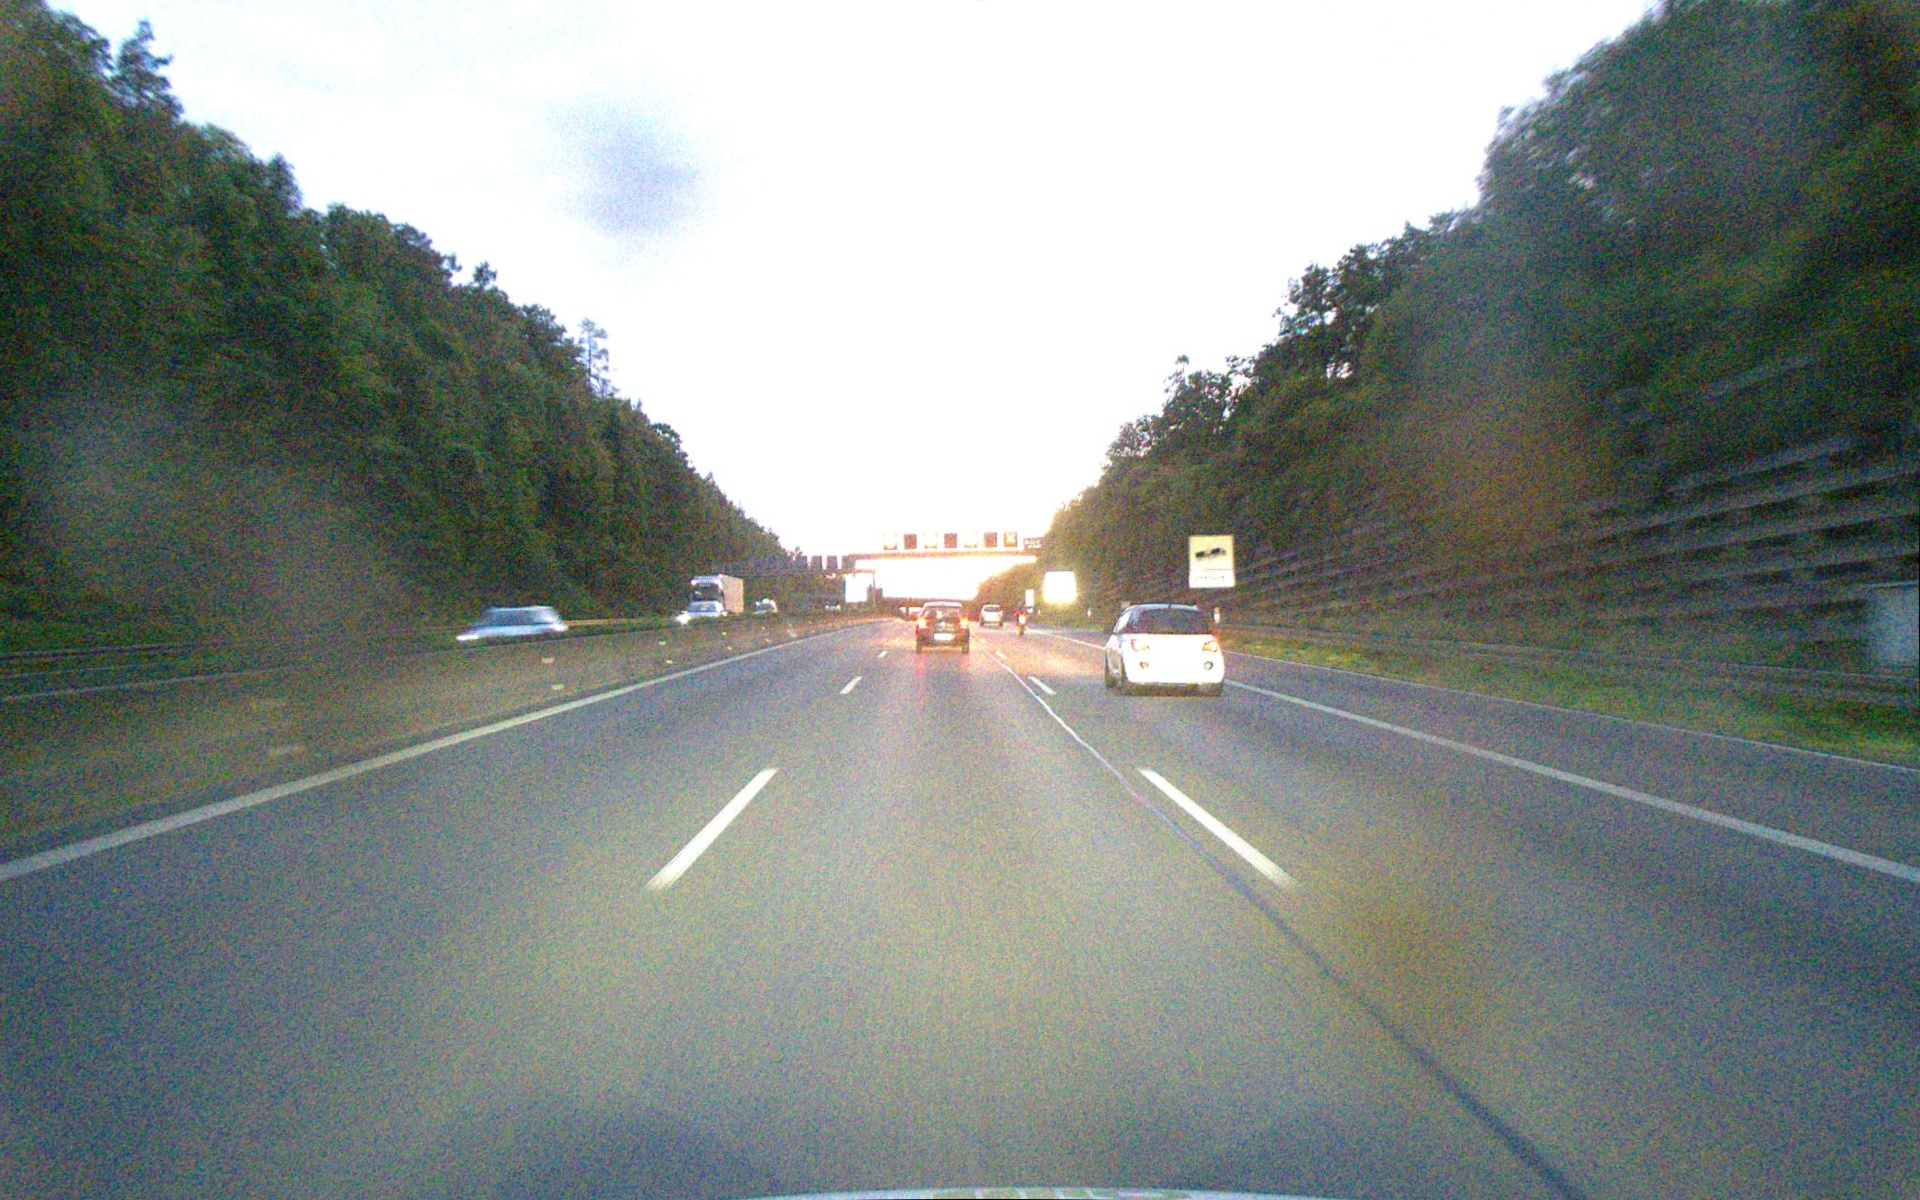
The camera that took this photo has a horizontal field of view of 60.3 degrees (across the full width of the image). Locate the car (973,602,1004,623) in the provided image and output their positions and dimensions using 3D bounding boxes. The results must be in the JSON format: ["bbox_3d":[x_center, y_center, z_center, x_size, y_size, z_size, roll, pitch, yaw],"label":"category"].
[{"bbox_3d":[2.138,0.968,124.415,1.829,1.520,4.393,1,-1,-5],"label":"car"}]

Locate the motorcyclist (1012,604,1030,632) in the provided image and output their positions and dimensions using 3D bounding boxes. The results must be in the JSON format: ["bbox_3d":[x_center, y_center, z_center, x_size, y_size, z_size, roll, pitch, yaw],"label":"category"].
[{"bbox_3d":[2.894,0.865,78.614,0.813,1.314,1.189,0,-1,-1],"label":"motorcyclist"}]

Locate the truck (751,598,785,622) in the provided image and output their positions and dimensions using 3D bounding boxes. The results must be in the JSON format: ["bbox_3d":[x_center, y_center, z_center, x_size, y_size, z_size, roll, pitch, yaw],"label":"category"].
[{"bbox_3d":[-20.719,1.071,179.045,2.410,2.554,9.754,0,0,1],"label":"truck"}]

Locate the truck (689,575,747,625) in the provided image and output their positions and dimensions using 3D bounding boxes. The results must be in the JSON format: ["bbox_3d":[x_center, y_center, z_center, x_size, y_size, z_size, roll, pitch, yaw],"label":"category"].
[{"bbox_3d":[-20.847,0.007,143.176,3.289,4.073,14.491,-1,0,-2],"label":"truck"}]

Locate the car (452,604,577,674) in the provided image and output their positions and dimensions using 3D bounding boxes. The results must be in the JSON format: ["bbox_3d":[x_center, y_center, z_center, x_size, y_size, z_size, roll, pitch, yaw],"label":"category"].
[{"bbox_3d":[-11.440,0.950,42.854,1.878,1.641,5.158,-1,0,-1],"label":"car"}]

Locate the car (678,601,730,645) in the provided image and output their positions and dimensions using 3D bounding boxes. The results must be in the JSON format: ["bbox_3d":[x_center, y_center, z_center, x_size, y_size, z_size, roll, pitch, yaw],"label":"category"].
[{"bbox_3d":[-12.220,1.066,79.244,1.892,1.965,5.109,-1,0,-3],"label":"car"}]

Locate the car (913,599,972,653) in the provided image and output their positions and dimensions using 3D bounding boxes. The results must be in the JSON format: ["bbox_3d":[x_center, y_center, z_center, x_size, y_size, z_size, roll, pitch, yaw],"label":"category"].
[{"bbox_3d":[-0.523,0.788,49.683,1.669,1.536,4.230,1,-1,-1],"label":"car"}]

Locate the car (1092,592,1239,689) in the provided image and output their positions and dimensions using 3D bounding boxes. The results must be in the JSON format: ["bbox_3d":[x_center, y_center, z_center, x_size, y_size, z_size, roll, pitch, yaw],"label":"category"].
[{"bbox_3d":[3.452,0.689,28.548,1.789,1.502,4.396,1,-1,-3],"label":"car"}]

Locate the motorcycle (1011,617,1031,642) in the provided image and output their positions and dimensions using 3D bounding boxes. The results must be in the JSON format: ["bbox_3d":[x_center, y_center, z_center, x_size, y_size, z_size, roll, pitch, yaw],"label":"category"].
[{"bbox_3d":[2.900,1.395,78.673,0.813,1.154,2.475,0,-1,-1],"label":"motorcycle"}]

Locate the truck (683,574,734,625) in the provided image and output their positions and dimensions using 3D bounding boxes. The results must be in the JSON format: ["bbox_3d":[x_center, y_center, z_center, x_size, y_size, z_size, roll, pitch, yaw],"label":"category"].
[{"bbox_3d":[-20.633,-0.044,136.163,3.312,4.073,6.877,-1,0,-2],"label":"truck"}]
